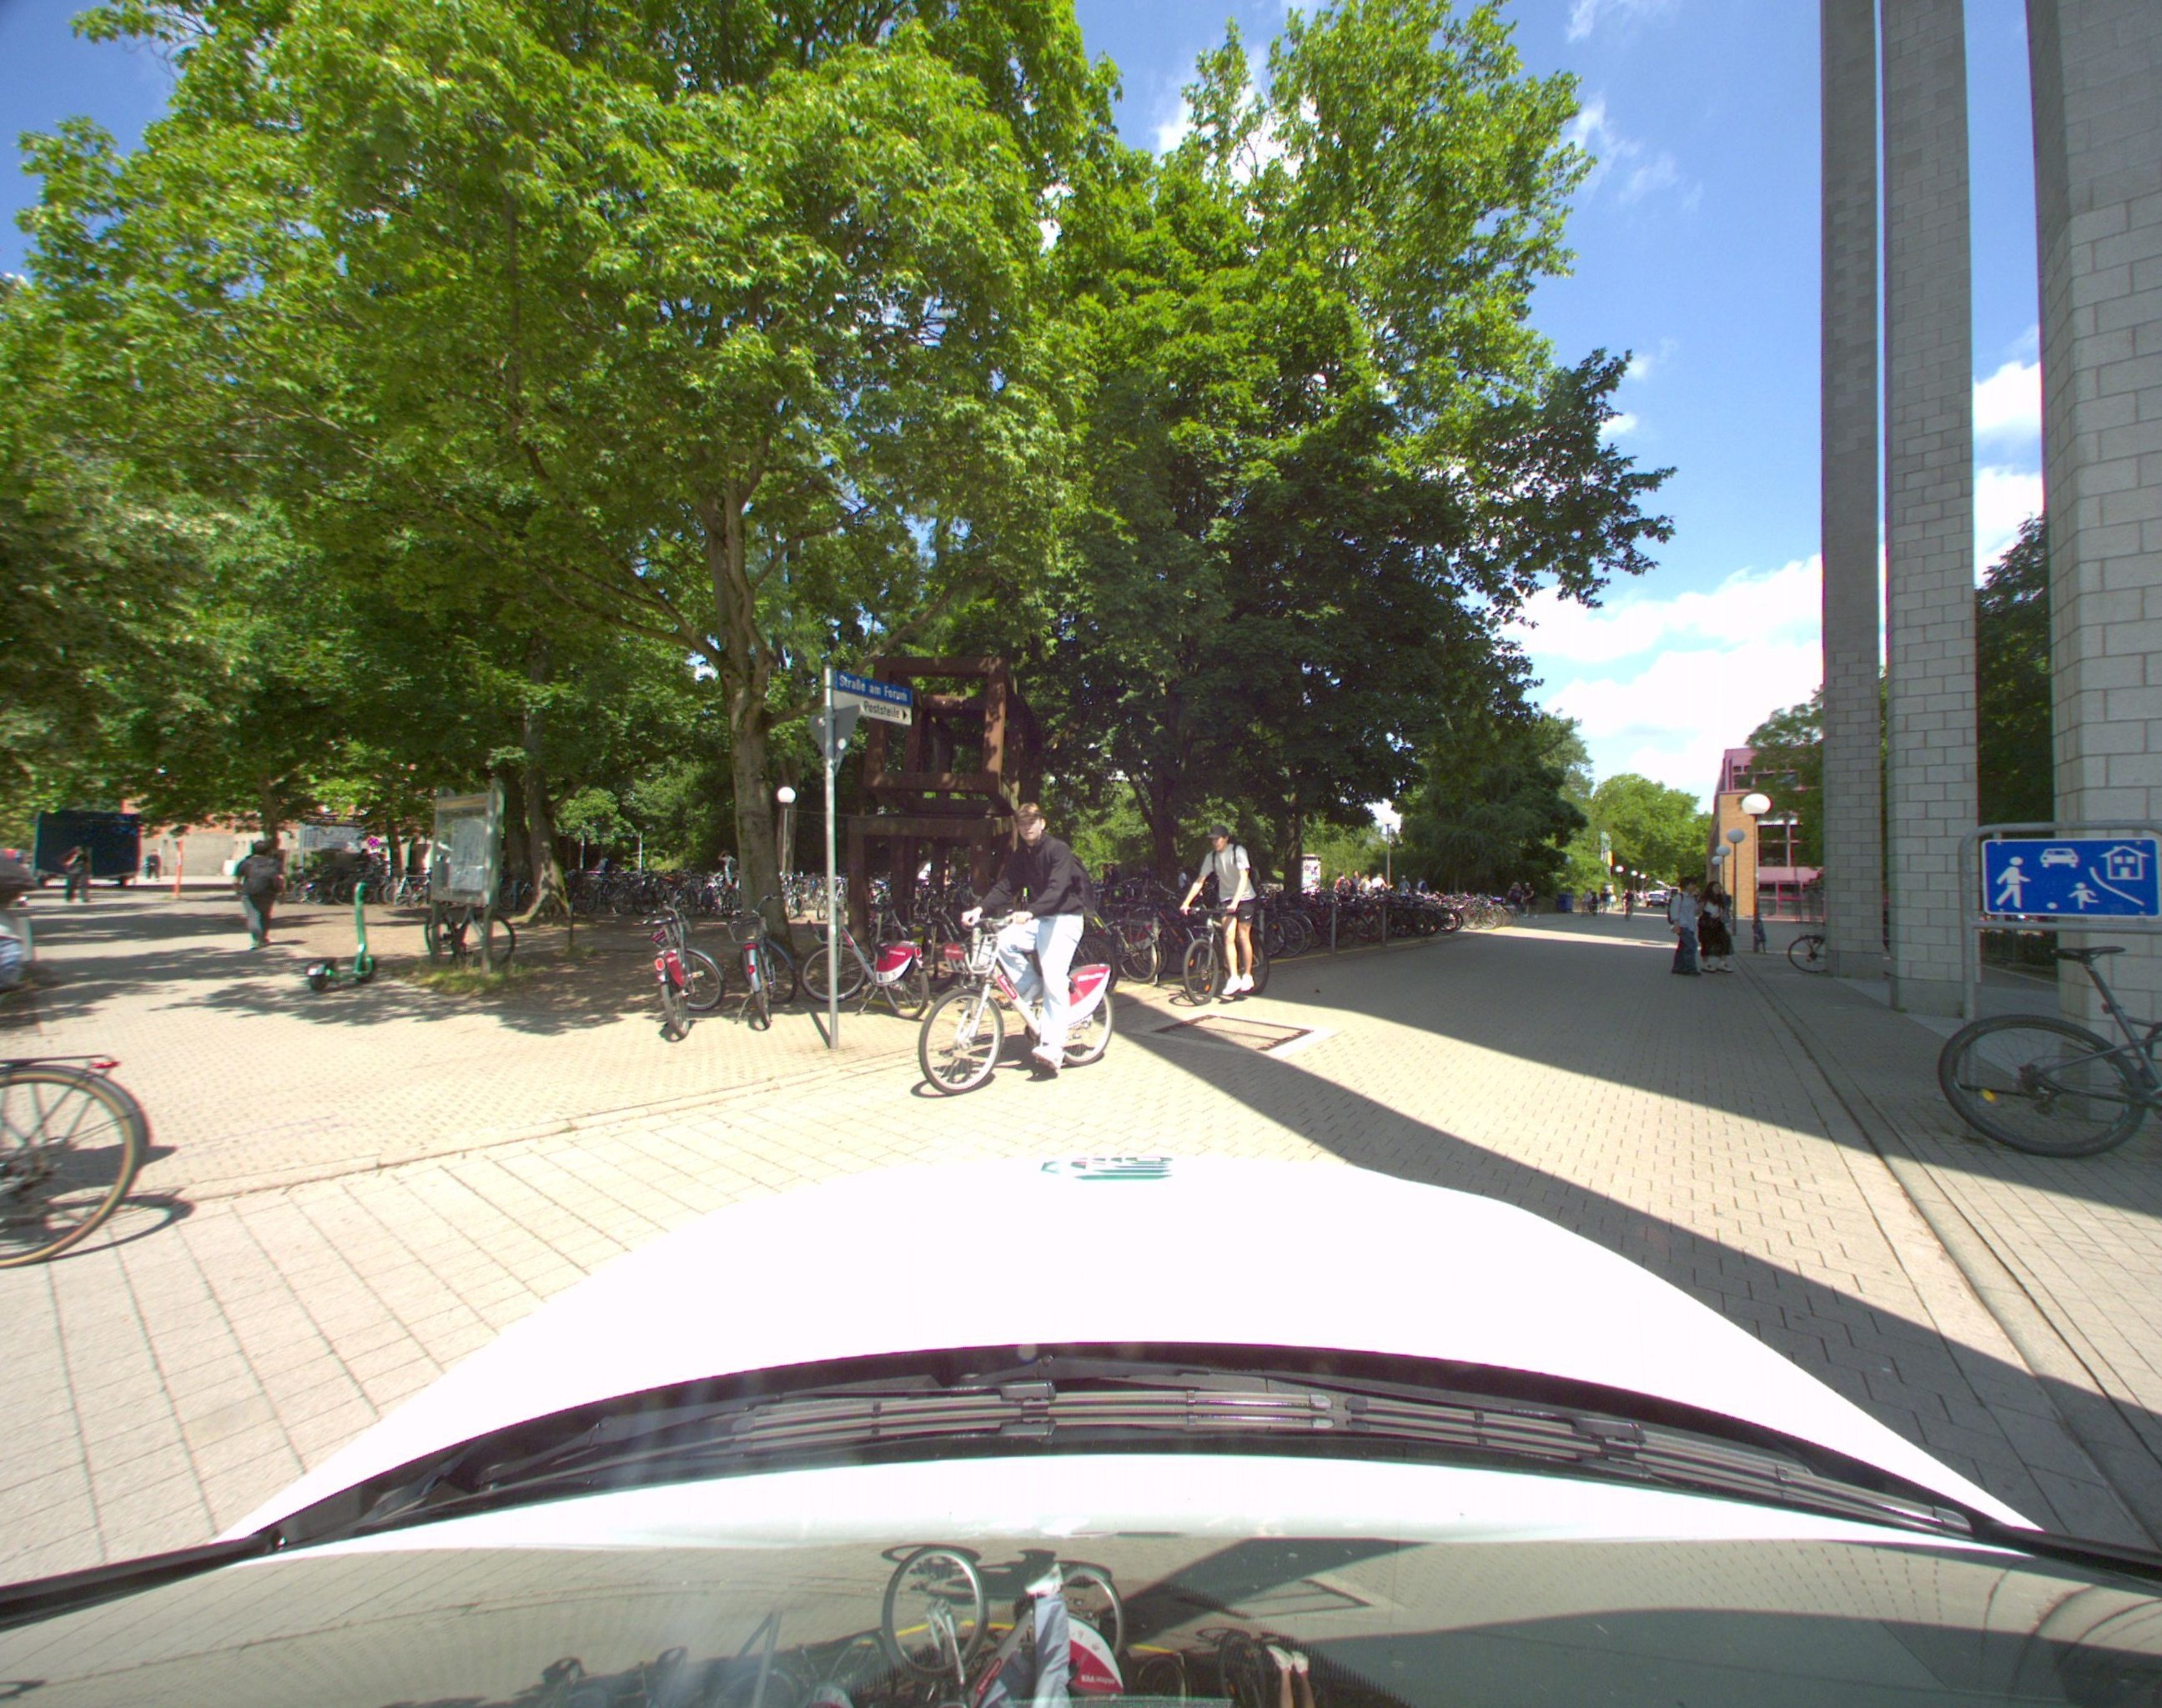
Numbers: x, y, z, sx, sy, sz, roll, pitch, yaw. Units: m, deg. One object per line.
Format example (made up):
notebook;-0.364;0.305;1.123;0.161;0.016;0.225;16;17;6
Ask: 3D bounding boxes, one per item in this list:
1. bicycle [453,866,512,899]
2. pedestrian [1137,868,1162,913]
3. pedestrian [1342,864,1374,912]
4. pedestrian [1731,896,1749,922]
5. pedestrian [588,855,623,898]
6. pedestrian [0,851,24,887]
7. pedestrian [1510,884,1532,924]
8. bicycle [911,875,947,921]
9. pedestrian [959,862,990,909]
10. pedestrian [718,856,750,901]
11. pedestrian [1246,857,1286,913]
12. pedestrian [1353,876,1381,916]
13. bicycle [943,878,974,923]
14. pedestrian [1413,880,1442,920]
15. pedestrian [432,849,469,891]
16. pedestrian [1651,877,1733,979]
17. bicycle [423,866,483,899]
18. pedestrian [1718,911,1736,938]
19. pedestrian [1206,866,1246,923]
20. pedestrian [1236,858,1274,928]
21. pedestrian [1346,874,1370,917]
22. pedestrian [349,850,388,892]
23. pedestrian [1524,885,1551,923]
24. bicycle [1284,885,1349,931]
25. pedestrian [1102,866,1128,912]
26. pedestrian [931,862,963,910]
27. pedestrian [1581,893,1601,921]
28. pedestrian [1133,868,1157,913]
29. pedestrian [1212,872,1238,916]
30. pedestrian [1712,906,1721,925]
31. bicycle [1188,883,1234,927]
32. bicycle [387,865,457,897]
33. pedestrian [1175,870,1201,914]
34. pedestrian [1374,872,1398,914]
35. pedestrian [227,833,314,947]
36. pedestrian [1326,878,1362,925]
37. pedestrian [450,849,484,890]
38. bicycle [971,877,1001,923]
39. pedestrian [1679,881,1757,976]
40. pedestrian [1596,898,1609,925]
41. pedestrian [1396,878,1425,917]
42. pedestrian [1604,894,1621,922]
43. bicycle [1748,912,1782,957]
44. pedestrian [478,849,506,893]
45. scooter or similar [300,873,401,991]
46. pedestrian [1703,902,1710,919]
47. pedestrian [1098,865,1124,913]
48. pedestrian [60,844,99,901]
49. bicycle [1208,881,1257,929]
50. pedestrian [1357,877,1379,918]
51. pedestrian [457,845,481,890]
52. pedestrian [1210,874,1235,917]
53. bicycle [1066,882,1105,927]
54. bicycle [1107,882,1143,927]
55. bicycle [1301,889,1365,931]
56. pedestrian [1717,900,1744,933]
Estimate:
bicycle;-20.985;1.008;28.606;0.470;1.084;1.862;2;-2;6
pedestrian;2.658;1.415;31.791;0.900;1.680;0.770;2;-2;4
pedestrian;10.760;1.323;31.610;0.941;1.835;0.682;2;-2;-19
pedestrian;45.092;3.771;55.740;0.893;1.729;0.688;-1;-6;44
pedestrian;-20.153;0.963;34.515;0.897;1.775;0.773;2;-2;19
pedestrian;-46.607;0.659;35.461;0.727;1.520;0.626;1;-3;40
pedestrian;19.085;2.166;35.346;0.760;1.680;0.913;0;-2;33
bicycle;-3.887;1.108;20.944;0.499;1.108;1.906;3;-2;0
pedestrian;-4.196;1.245;32.094;0.897;1.775;0.773;2;-2;15
pedestrian;-14.081;0.989;33.062;0.895;1.775;0.774;1;-2;38
pedestrian;5.792;0.976;25.557;0.906;1.703;0.765;3;-2;-18
pedestrian;12.774;1.863;36.361;0.901;1.724;0.684;3;-2;-10
bicycle;-3.186;1.194;21.271;0.499;1.108;1.779;3;-2;0
pedestrian;16.342;2.147;38.393;0.881;1.815;0.831;3;-2;-14
pedestrian;-27.158;0.700;35.090;0.897;1.775;0.773;2;-2;19
pedestrian;10.381;1.235;13.856;0.674;1.670;0.894;2;-2;-15
bicycle;-22.176;1.006;28.803;0.470;1.084;1.862;2;-2;6
pedestrian;41.775;4.569;52.646;0.844;1.651;0.591;1;-4;45
pedestrian;4.451;1.240;25.006;0.906;1.703;0.766;3;-2;-16
pedestrian;4.673;1.044;21.912;0.767;1.807;0.708;3;-2;-8
pedestrian;11.313;1.694;33.232;0.677;1.724;0.736;2;-2;35
pedestrian;-31.234;0.747;35.730;0.777;1.775;0.924;2;-2;20
pedestrian;22.952;2.494;40.946;1.048;1.836;0.611;3;-2;-15
bicycle;6.665;1.517;23.085;1.678;1.220;0.505;2;-2;26
pedestrian;1.348;1.371;32.169;0.900;1.775;0.770;2;-2;4
pedestrian;-5.117;1.226;31.121;0.898;1.775;0.773;2;-2;14
pedestrian;35.166;3.653;56.189;0.778;1.845;1.122;3;-2;13
pedestrian;2.569;1.464;32.718;0.900;1.775;0.770;2;-2;4
pedestrian;5.789;1.597;32.751;0.900;1.680;0.770;2;-2;4
pedestrian;56.659;5.457;72.637;0.580;1.673;0.703;-1;-5;39
bicycle;3.474;1.349;21.854;0.502;1.108;1.690;3;-2;-16
bicycle;-23.317;0.972;28.852;0.468;1.084;1.868;2;-2;21
pedestrian;4.248;1.510;32.335;0.900;1.680;0.770;2;-2;4
pedestrian;12.906;1.632;34.431;0.926;1.724;0.681;1;-2;22
pedestrian;-12.557;0.545;12.626;0.863;1.684;0.732;0;-2;34
pedestrian;9.891;1.772;30.644;1.065;1.724;0.714;2;-2;-20
pedestrian;-27.834;0.715;36.910;0.897;1.802;0.773;2;-2;19
bicycle;-2.465;1.177;21.260;0.499;1.108;1.779;3;-2;0
pedestrian;11.313;1.308;14.488;0.804;1.618;0.739;2;-3;-7
pedestrian;32.872;3.624;51.329;0.563;1.611;0.923;2;-3;26
pedestrian;15.847;2.073;39.191;0.981;1.804;0.767;3;-2;-12
pedestrian;36.787;3.752;56.404;0.785;1.844;0.678;5;-3;-32
bicycle;17.093;1.995;20.364;0.532;1.039;1.870;-1;-3;37
pedestrian;-24.357;0.704;33.665;0.651;1.775;0.613;1;-2;30
scooter or similar;-7.907;0.804;8.861;0.292;1.195;1.178;2;-2;-17
pedestrian;64.271;5.823;83.687;0.580;1.673;0.822;-1;-5;39
pedestrian;1.157;1.330;31.348;0.900;1.775;0.770;2;-2;4
pedestrian;-27.700;0.505;22.525;0.830;1.520;0.574;1;-2;38
bicycle;4.077;1.348;22.003;0.575;1.200;1.690;3;-2;-16
pedestrian;12.329;1.845;35.018;0.681;1.724;0.731;1;-2;1
pedestrian;-24.840;0.548;33.044;0.662;1.771;0.506;1;-2;33
pedestrian;5.818;1.703;33.583;0.900;1.680;0.770;2;-2;4
bicycle;0.112;1.305;21.496;0.630;1.108;1.692;3;-2;-12
bicycle;1.154;1.316;21.667;0.501;1.108;1.692;3;-2;-12
bicycle;7.384;1.633;23.869;1.678;1.108;0.505;2;-2;26
pedestrian;37.883;3.629;47.496;1.020;1.858;0.893;2;-2;24
